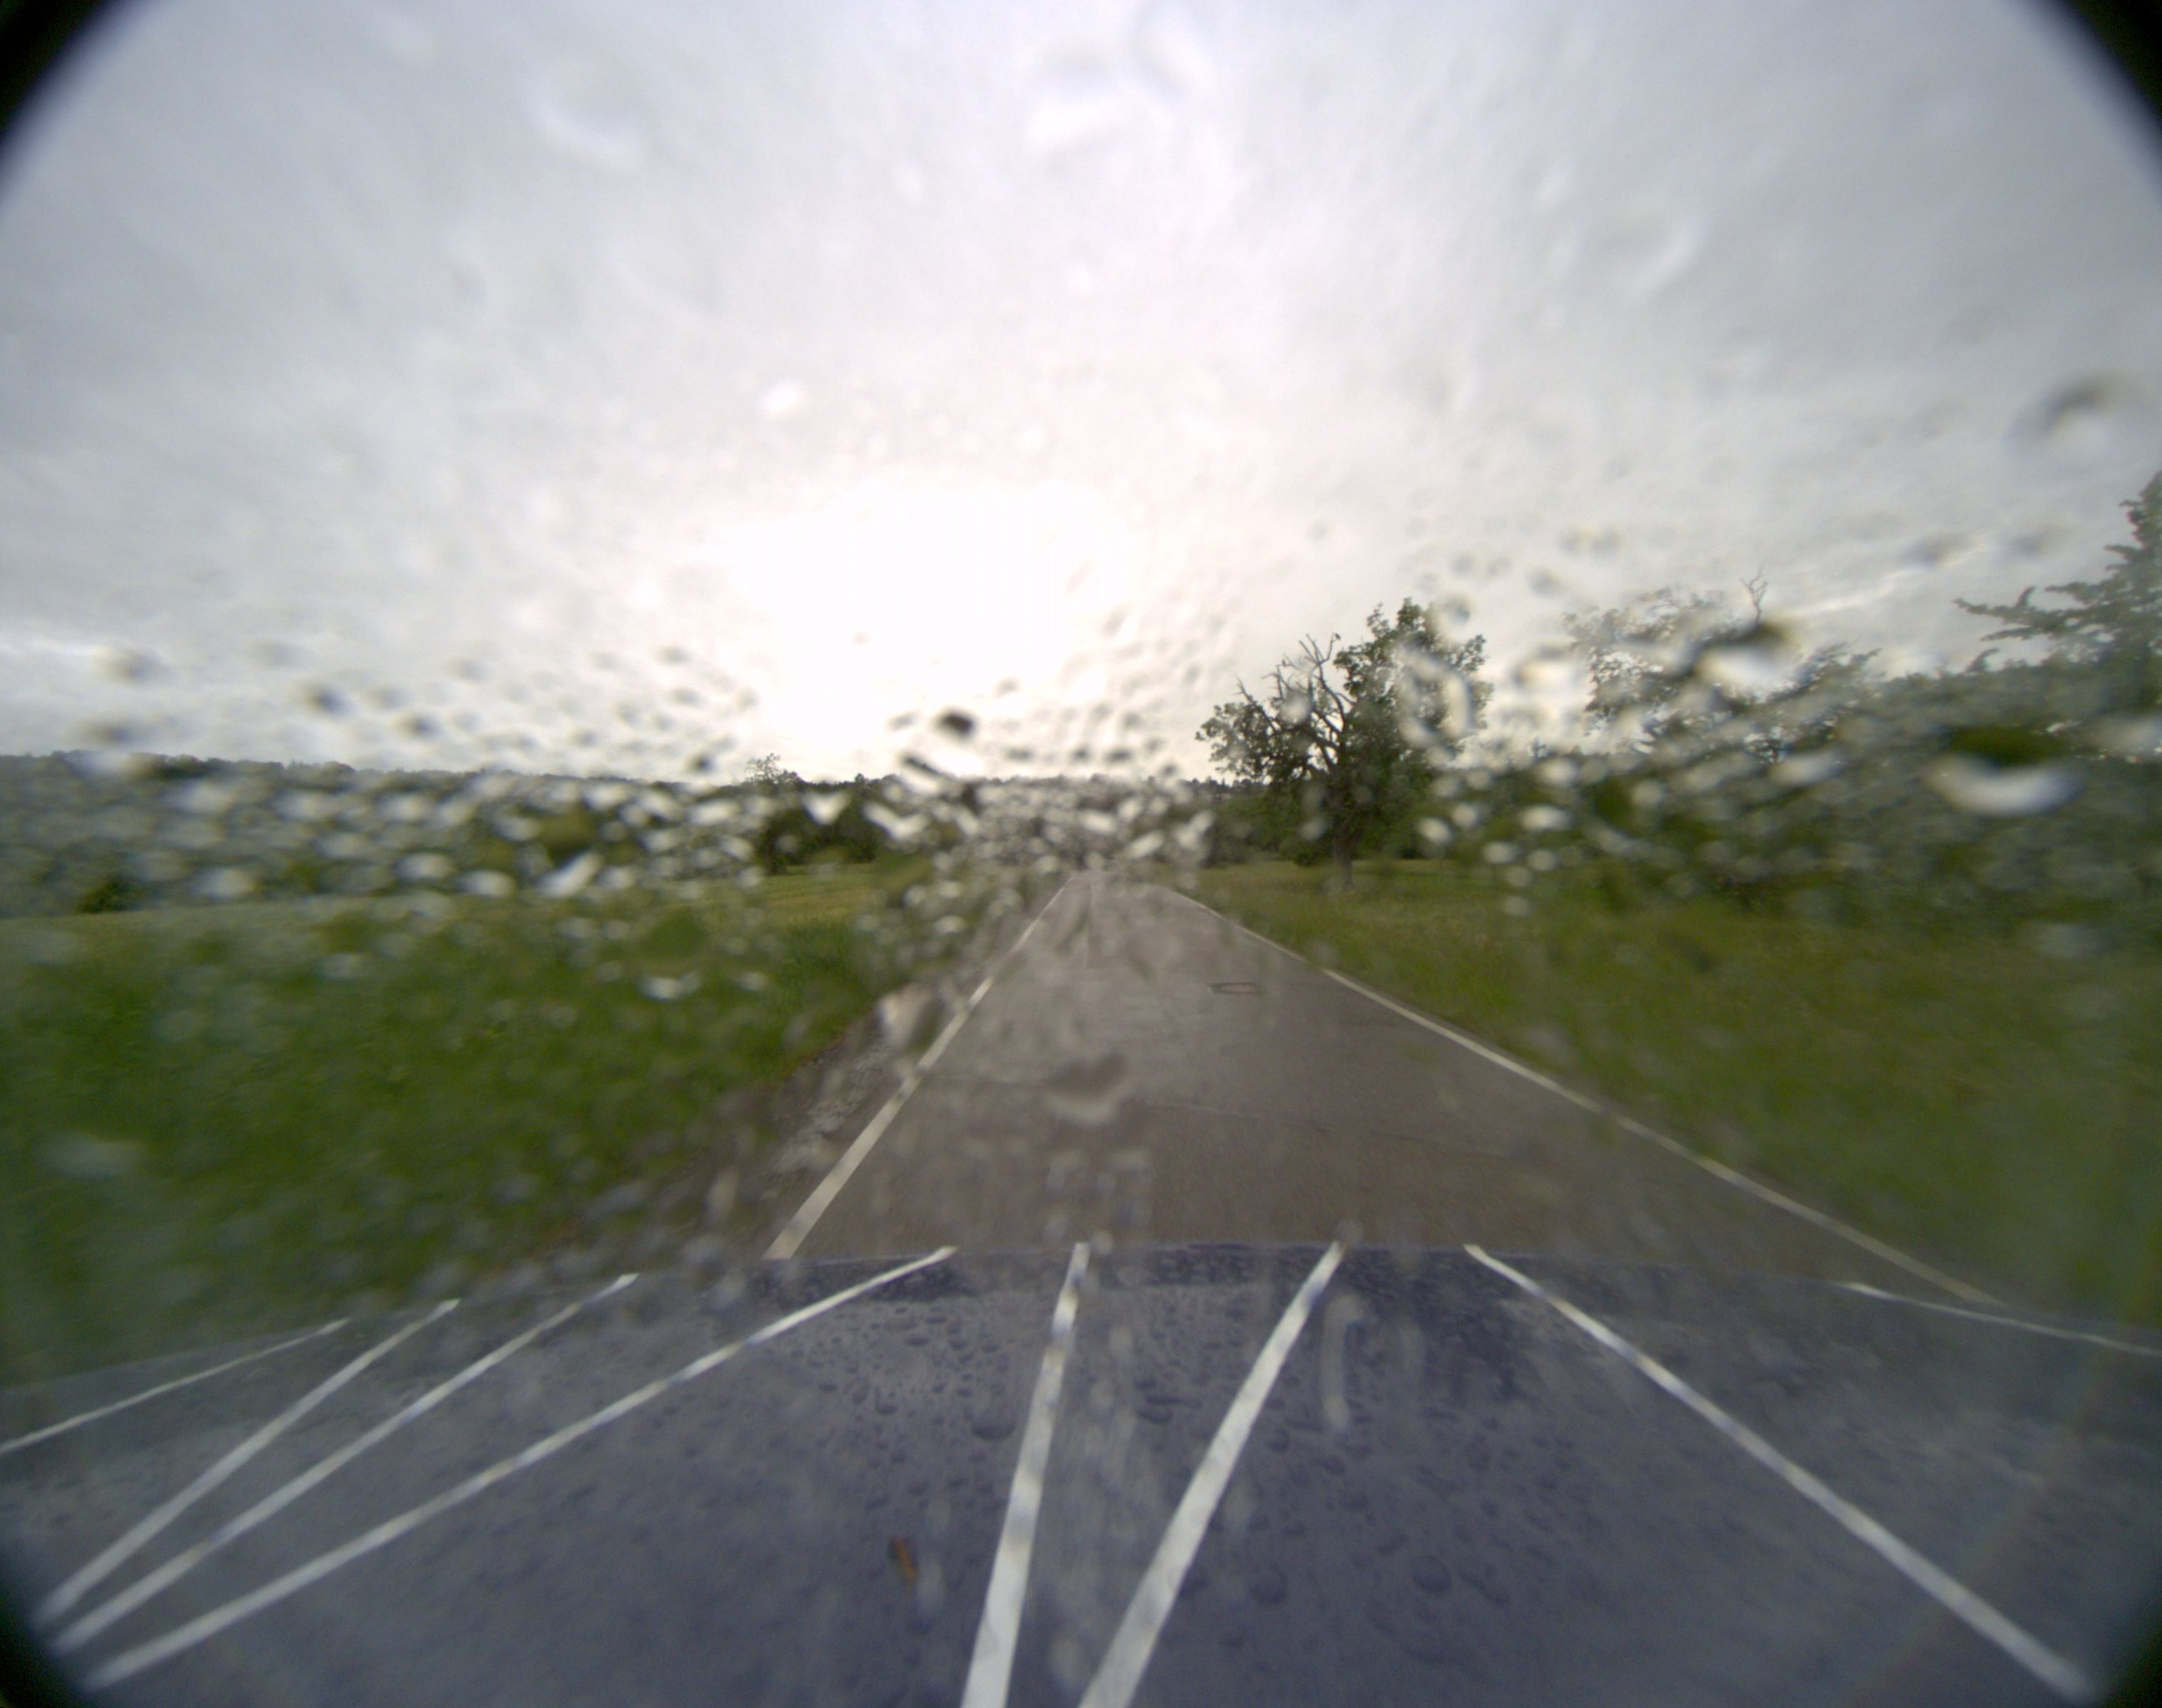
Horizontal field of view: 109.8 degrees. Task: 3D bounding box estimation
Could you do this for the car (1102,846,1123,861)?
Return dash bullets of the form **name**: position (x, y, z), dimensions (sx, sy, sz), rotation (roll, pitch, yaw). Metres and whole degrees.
- **car**: position (3.211, -0.084, 78.329), dimensions (1.744, 1.463, 4.121), rotation (-2, 1, -2)
